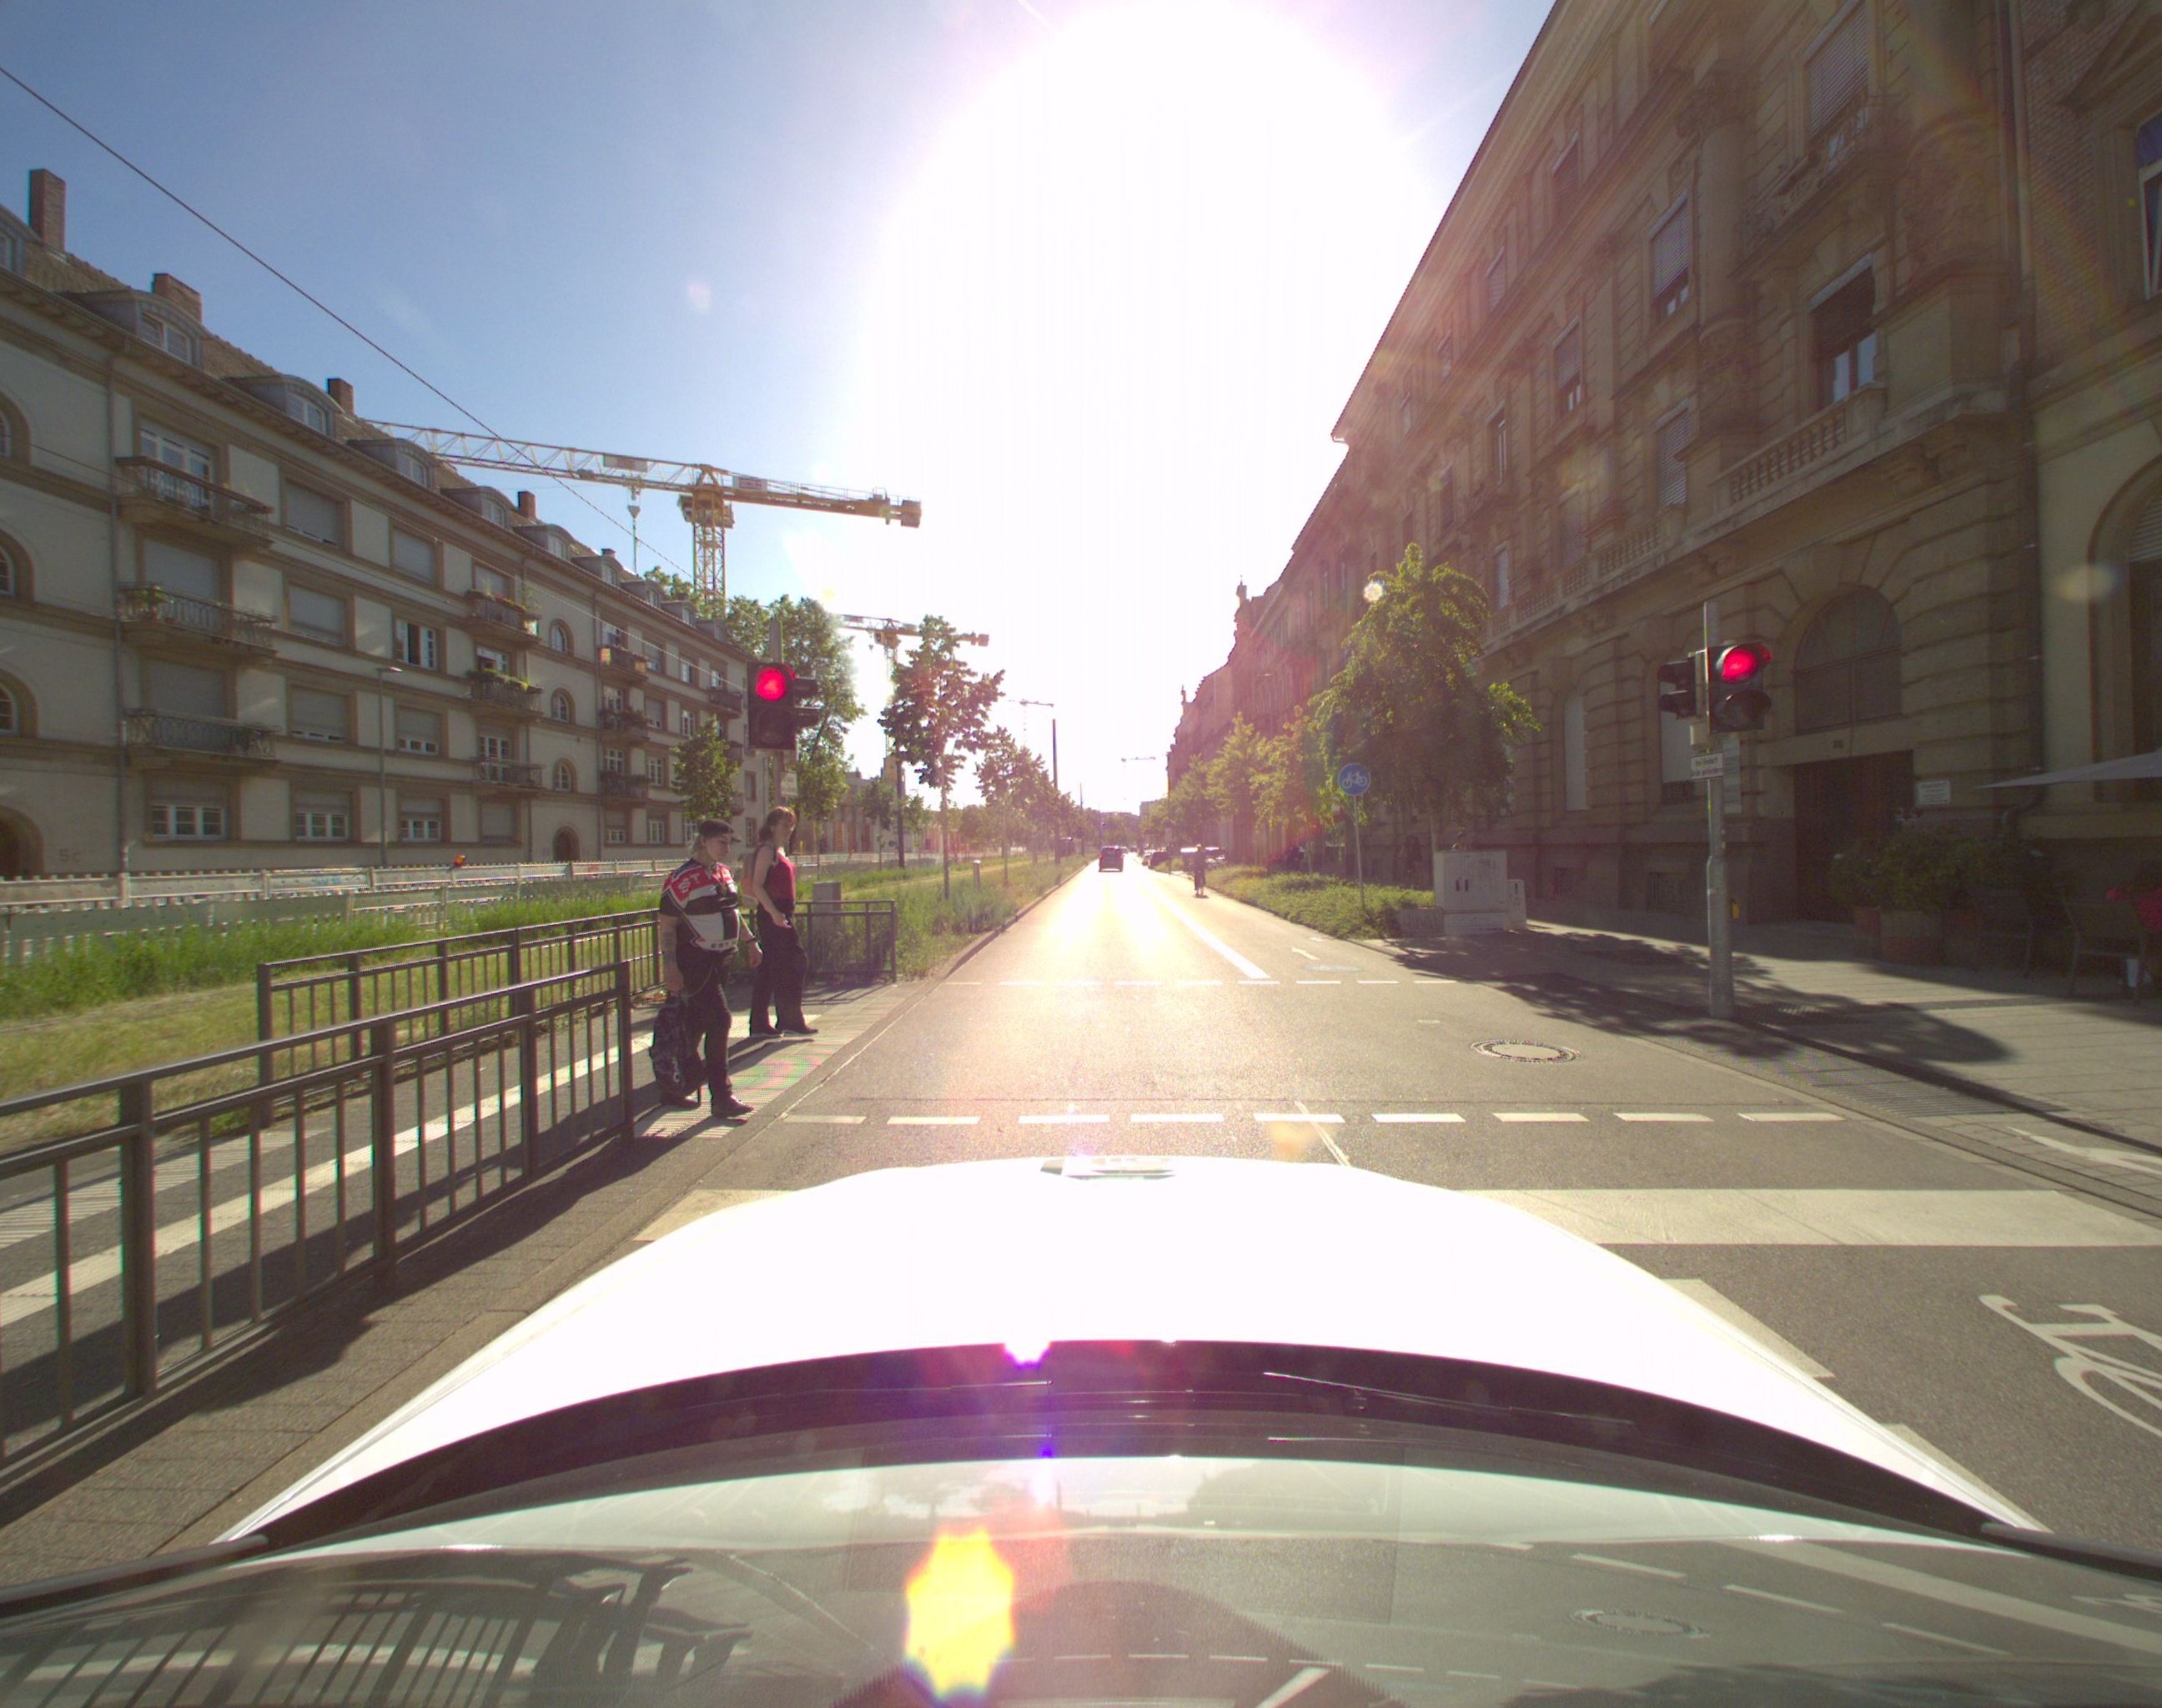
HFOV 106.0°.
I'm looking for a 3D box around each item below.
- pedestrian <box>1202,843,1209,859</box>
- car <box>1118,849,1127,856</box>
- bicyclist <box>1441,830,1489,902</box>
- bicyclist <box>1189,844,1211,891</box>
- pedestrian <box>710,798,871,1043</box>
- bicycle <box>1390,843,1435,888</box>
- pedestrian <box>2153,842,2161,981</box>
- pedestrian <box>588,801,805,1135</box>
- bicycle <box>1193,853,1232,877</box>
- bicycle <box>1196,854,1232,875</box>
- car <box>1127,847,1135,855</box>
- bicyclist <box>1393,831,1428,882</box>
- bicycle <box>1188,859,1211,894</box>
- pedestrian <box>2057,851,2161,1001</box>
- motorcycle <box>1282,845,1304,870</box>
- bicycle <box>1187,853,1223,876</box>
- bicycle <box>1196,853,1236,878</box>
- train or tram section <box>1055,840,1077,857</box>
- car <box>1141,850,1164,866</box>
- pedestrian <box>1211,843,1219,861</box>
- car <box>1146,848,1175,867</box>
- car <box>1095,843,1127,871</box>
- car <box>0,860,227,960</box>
[{"bbox_3d":[12.450,-0.275,81.460,0.611,1.611,0.669,-2,0,1],"label":"pedestrian"},{"bbox_3d":[9.368,-0.331,183.639,1.986,1.729,4.001,0,0,2],"label":"car"},{"bbox_3d":[9.007,0.271,19.132,0.664,1.639,0.961,-2,0,2],"label":"bicyclist"},{"bbox_3d":[4.313,0.466,29.645,0.682,1.673,0.922,0,0,1],"label":"bicyclist"},{"bbox_3d":[-2.390,0.520,6.804,1.073,1.908,0.652,-2,0,-5],"label":"pedestrian"},{"bbox_3d":[10.500,0.347,25.867,0.613,1.330,1.902,-6,0,3],"label":"bicycle"},{"bbox_3d":[9.941,0.499,6.943,0.703,1.236,0.635,-3,0,1],"label":"pedestrian"},{"bbox_3d":[-2.235,0.605,4.879,0.863,1.788,0.969,-1,0,-5],"label":"pedestrian"},{"bbox_3d":[6.592,0.550,40.917,1.786,1.030,0.528,-6,0,1],"label":"bicycle"},{"bbox_3d":[6.940,0.543,42.542,1.786,1.030,0.528,-2,0,1],"label":"bicycle"},{"bbox_3d":[13.245,-0.774,214.273,1.986,1.838,4.002,0,0,2],"label":"car"},{"bbox_3d":[10.428,0.081,25.779,0.657,1.530,0.801,-6,0,3],"label":"bicyclist"},{"bbox_3d":[4.283,0.804,29.548,0.599,1.181,1.870,0,0,1],"label":"bicycle"},{"bbox_3d":[9.096,0.586,6.953,0.703,1.178,0.635,-3,0,1],"label":"pedestrian"},{"bbox_3d":[11.447,0.166,44.039,0.697,1.267,1.983,-2,0,2],"label":"motorcycle"},{"bbox_3d":[6.700,0.563,43.924,1.786,1.030,0.528,-6,0,1],"label":"bicycle"},{"bbox_3d":[6.552,0.544,39.543,1.786,1.030,0.528,-6,0,1],"label":"bicycle"},{"bbox_3d":[-2.355,-0.820,132.331,2.745,2.742,9.871,0,0,3],"label":"train or tram section"},{"bbox_3d":[6.977,0.358,79.788,2.020,1.499,4.532,-2,0,2],"label":"car"},{"bbox_3d":[11.914,-0.163,72.521,0.611,1.611,0.669,-2,0,1],"label":"pedestrian"},{"bbox_3d":[6.516,0.281,67.380,2.020,1.499,4.656,-2,0,2],"label":"car"},{"bbox_3d":[2.220,0.181,60.470,2.192,1.926,4.656,-2,0,2],"label":"car"},{"bbox_3d":[-17.922,0.927,14.146,1.809,1.516,4.002,-2,0,2],"label":"car"}]
